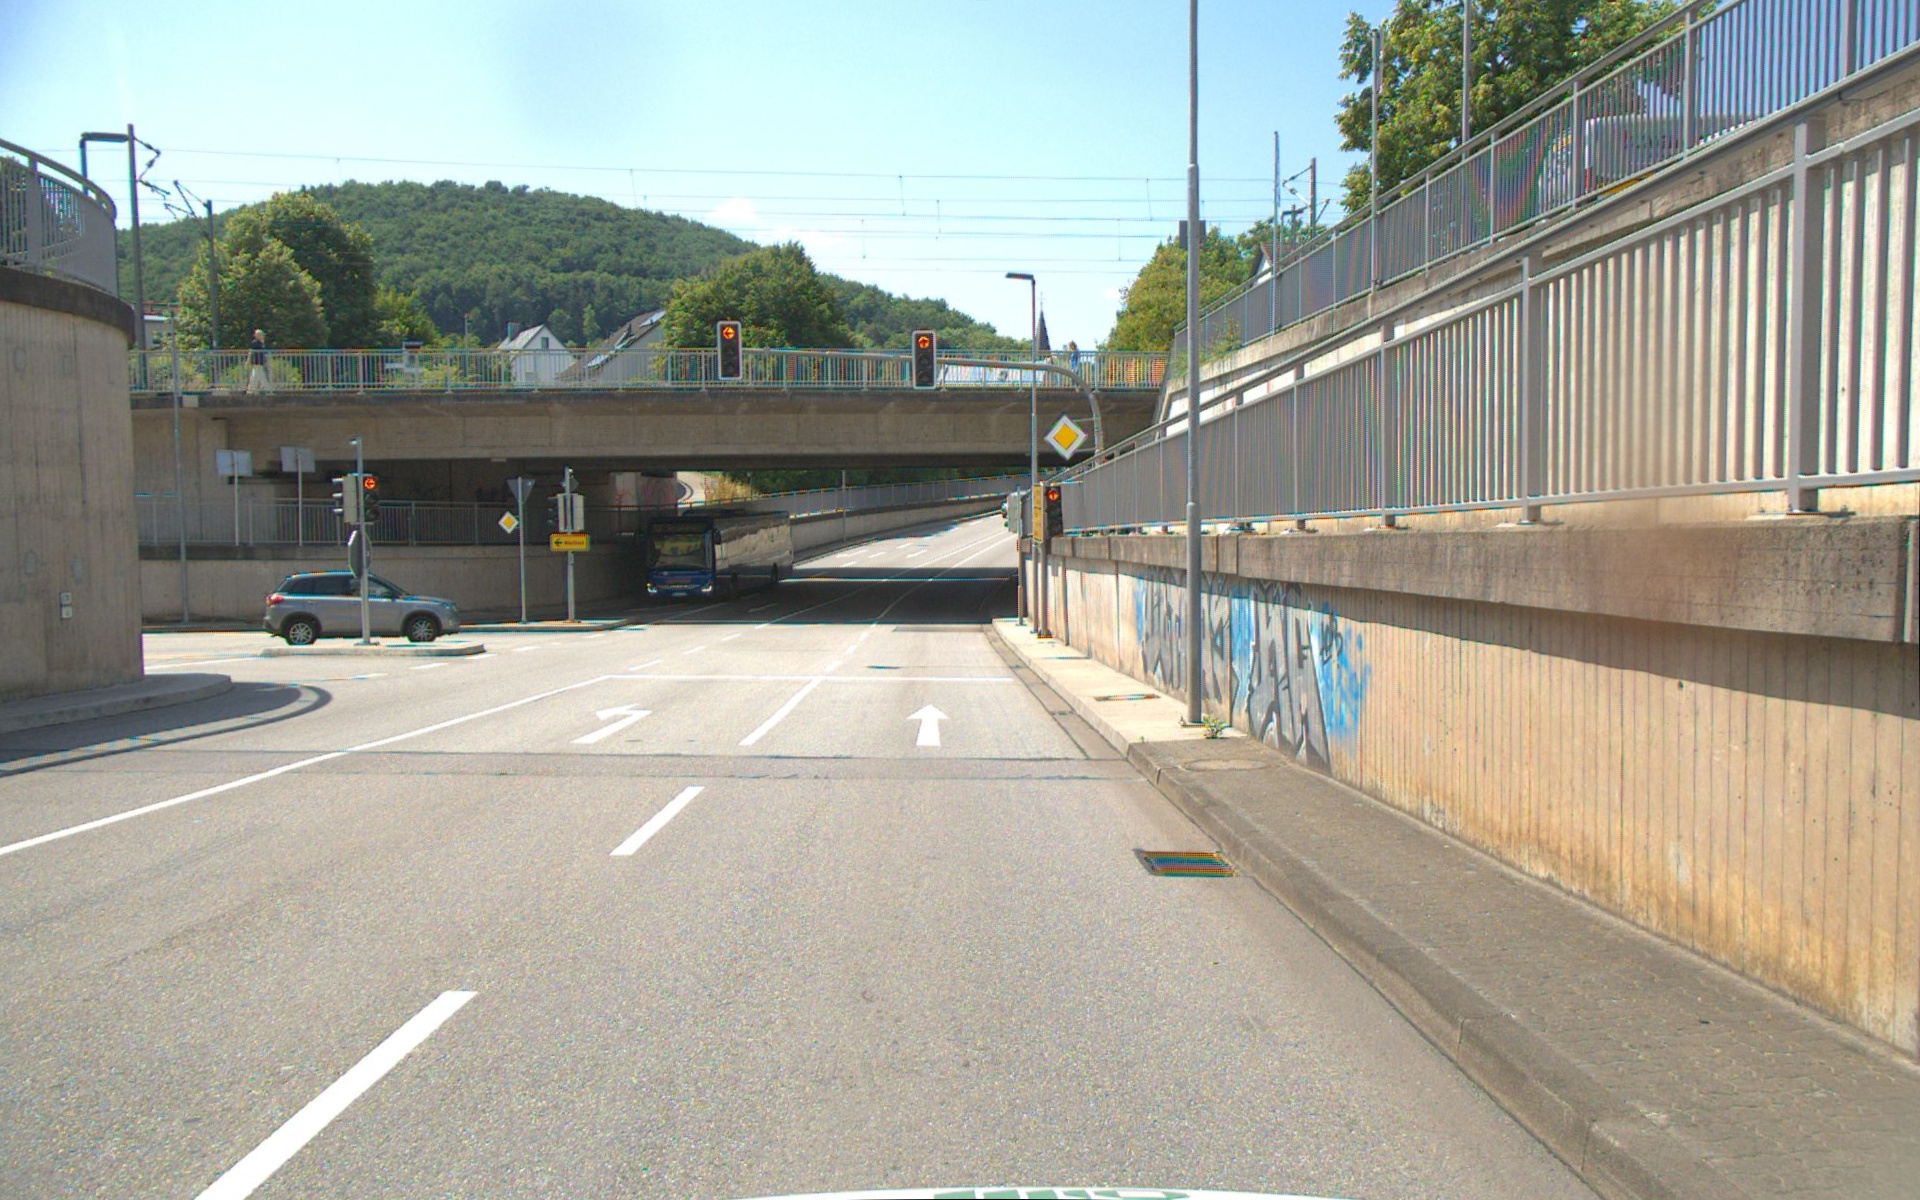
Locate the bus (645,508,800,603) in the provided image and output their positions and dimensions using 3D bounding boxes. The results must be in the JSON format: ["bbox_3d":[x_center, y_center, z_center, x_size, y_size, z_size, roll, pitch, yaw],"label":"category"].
[{"bbox_3d":[-8.700,-1.827,62.573,2.526,3.227,12.390,0,3,7],"label":"bus"}]

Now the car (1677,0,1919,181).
[{"bbox_3d":[9.563,-5.192,16.669,3.904,1.512,1.770,0,1,2],"label":"car"}]

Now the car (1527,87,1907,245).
[{"bbox_3d":[9.281,-5.334,20.507,3.904,1.512,1.770,0,1,2],"label":"car"}]

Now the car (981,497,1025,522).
[{"bbox_3d":[2.995,-6.222,114.003,1.952,1.655,4.003,1,3,19],"label":"car"}]

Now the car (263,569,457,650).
[{"bbox_3d":[-13.210,0.175,36.600,3.926,1.646,1.801,-1,3,-19],"label":"car"}]

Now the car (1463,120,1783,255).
[{"bbox_3d":[9.423,-5.886,23.740,3.904,1.512,1.770,0,1,2],"label":"car"}]

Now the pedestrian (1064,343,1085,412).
[{"bbox_3d":[3.591,-6.976,51.895,0.529,2.117,0.534,-1,1,-8],"label":"pedestrian"}]

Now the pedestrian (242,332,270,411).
[{"bbox_3d":[-19.410,-6.285,45.609,0.566,2.117,0.533,-1,1,-12],"label":"pedestrian"}]
